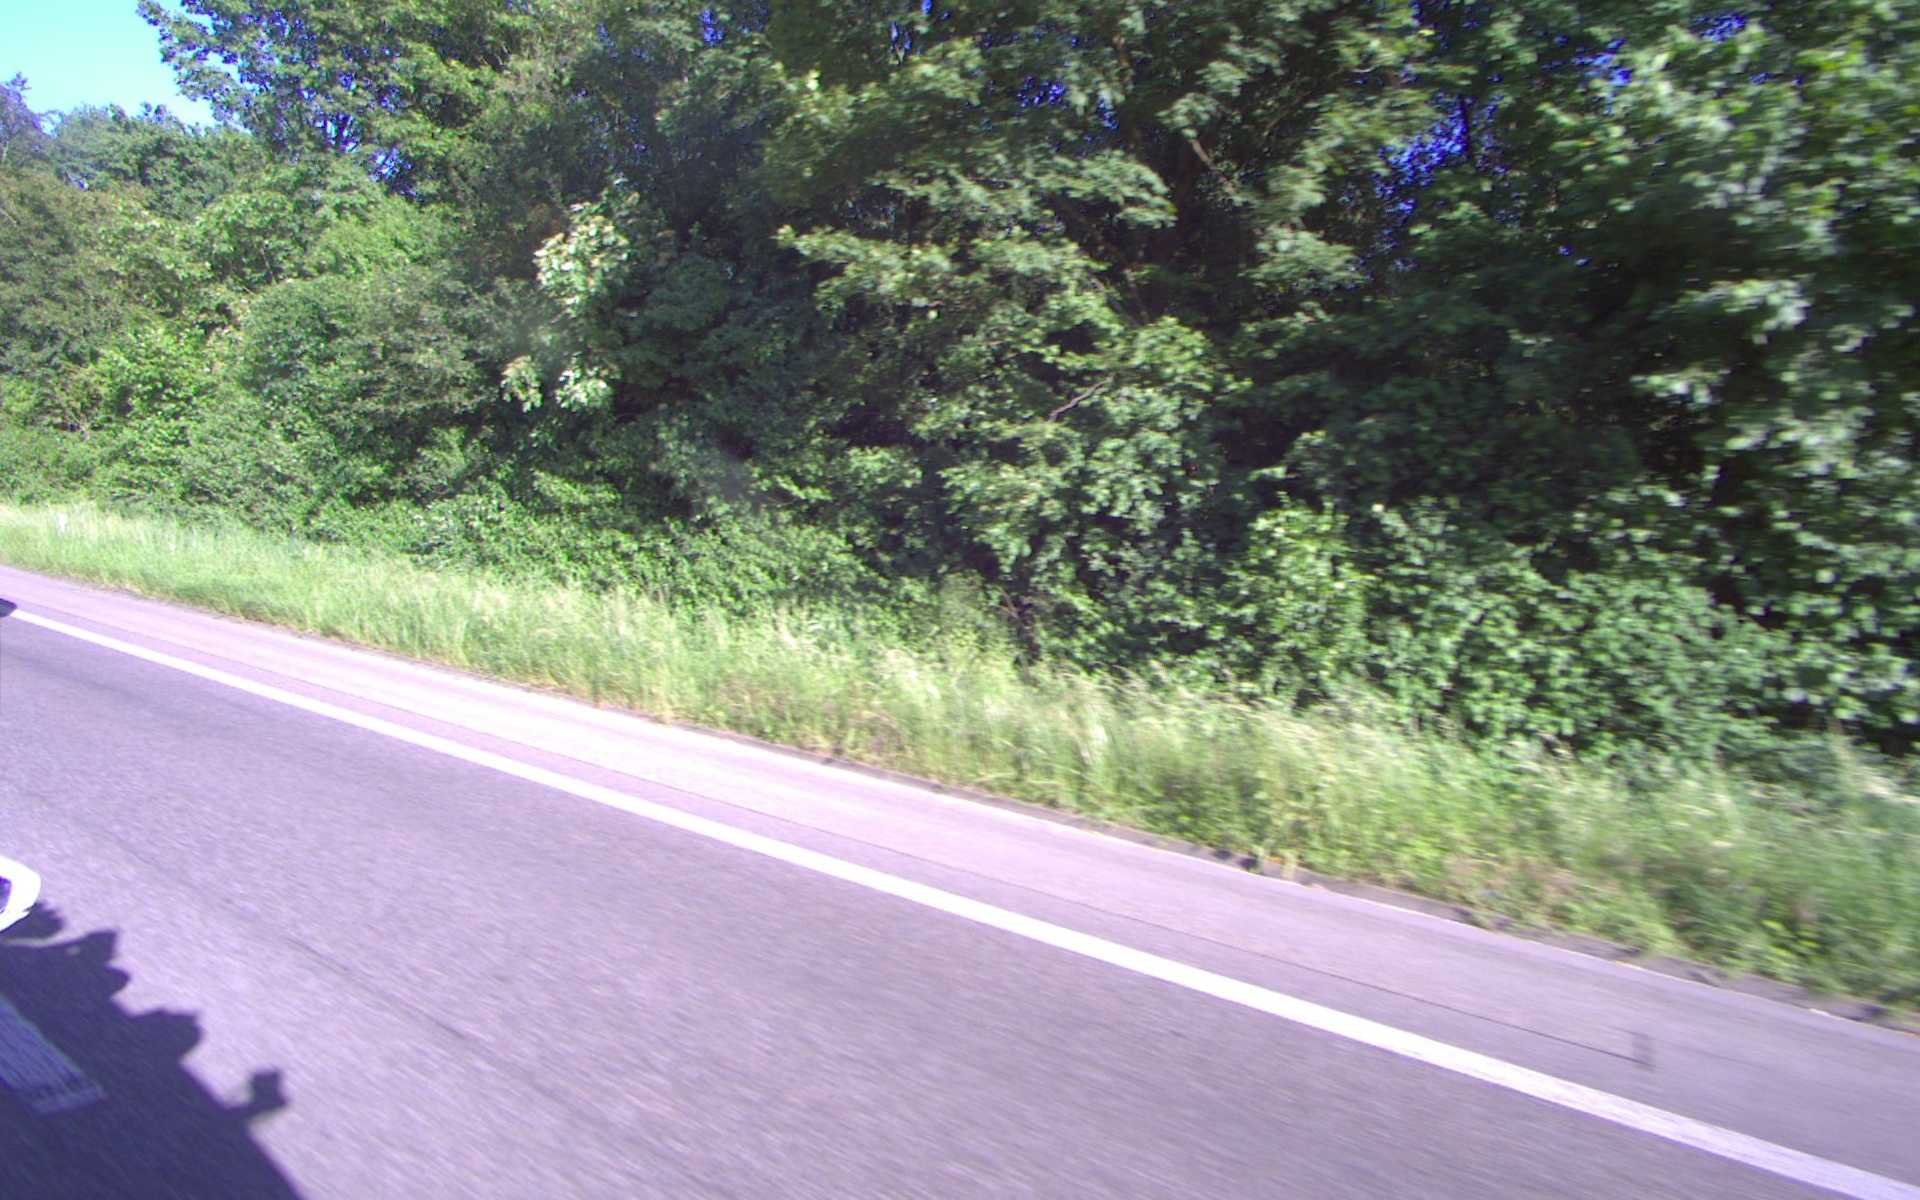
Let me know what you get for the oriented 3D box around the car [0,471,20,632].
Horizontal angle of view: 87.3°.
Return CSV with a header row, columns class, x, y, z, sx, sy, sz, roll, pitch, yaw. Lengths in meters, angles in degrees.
class,x,y,z,sx,sy,sz,roll,pitch,yaw
car,-12.889,-0.820,11.519,4.395,1.791,1.867,7,-1,31
